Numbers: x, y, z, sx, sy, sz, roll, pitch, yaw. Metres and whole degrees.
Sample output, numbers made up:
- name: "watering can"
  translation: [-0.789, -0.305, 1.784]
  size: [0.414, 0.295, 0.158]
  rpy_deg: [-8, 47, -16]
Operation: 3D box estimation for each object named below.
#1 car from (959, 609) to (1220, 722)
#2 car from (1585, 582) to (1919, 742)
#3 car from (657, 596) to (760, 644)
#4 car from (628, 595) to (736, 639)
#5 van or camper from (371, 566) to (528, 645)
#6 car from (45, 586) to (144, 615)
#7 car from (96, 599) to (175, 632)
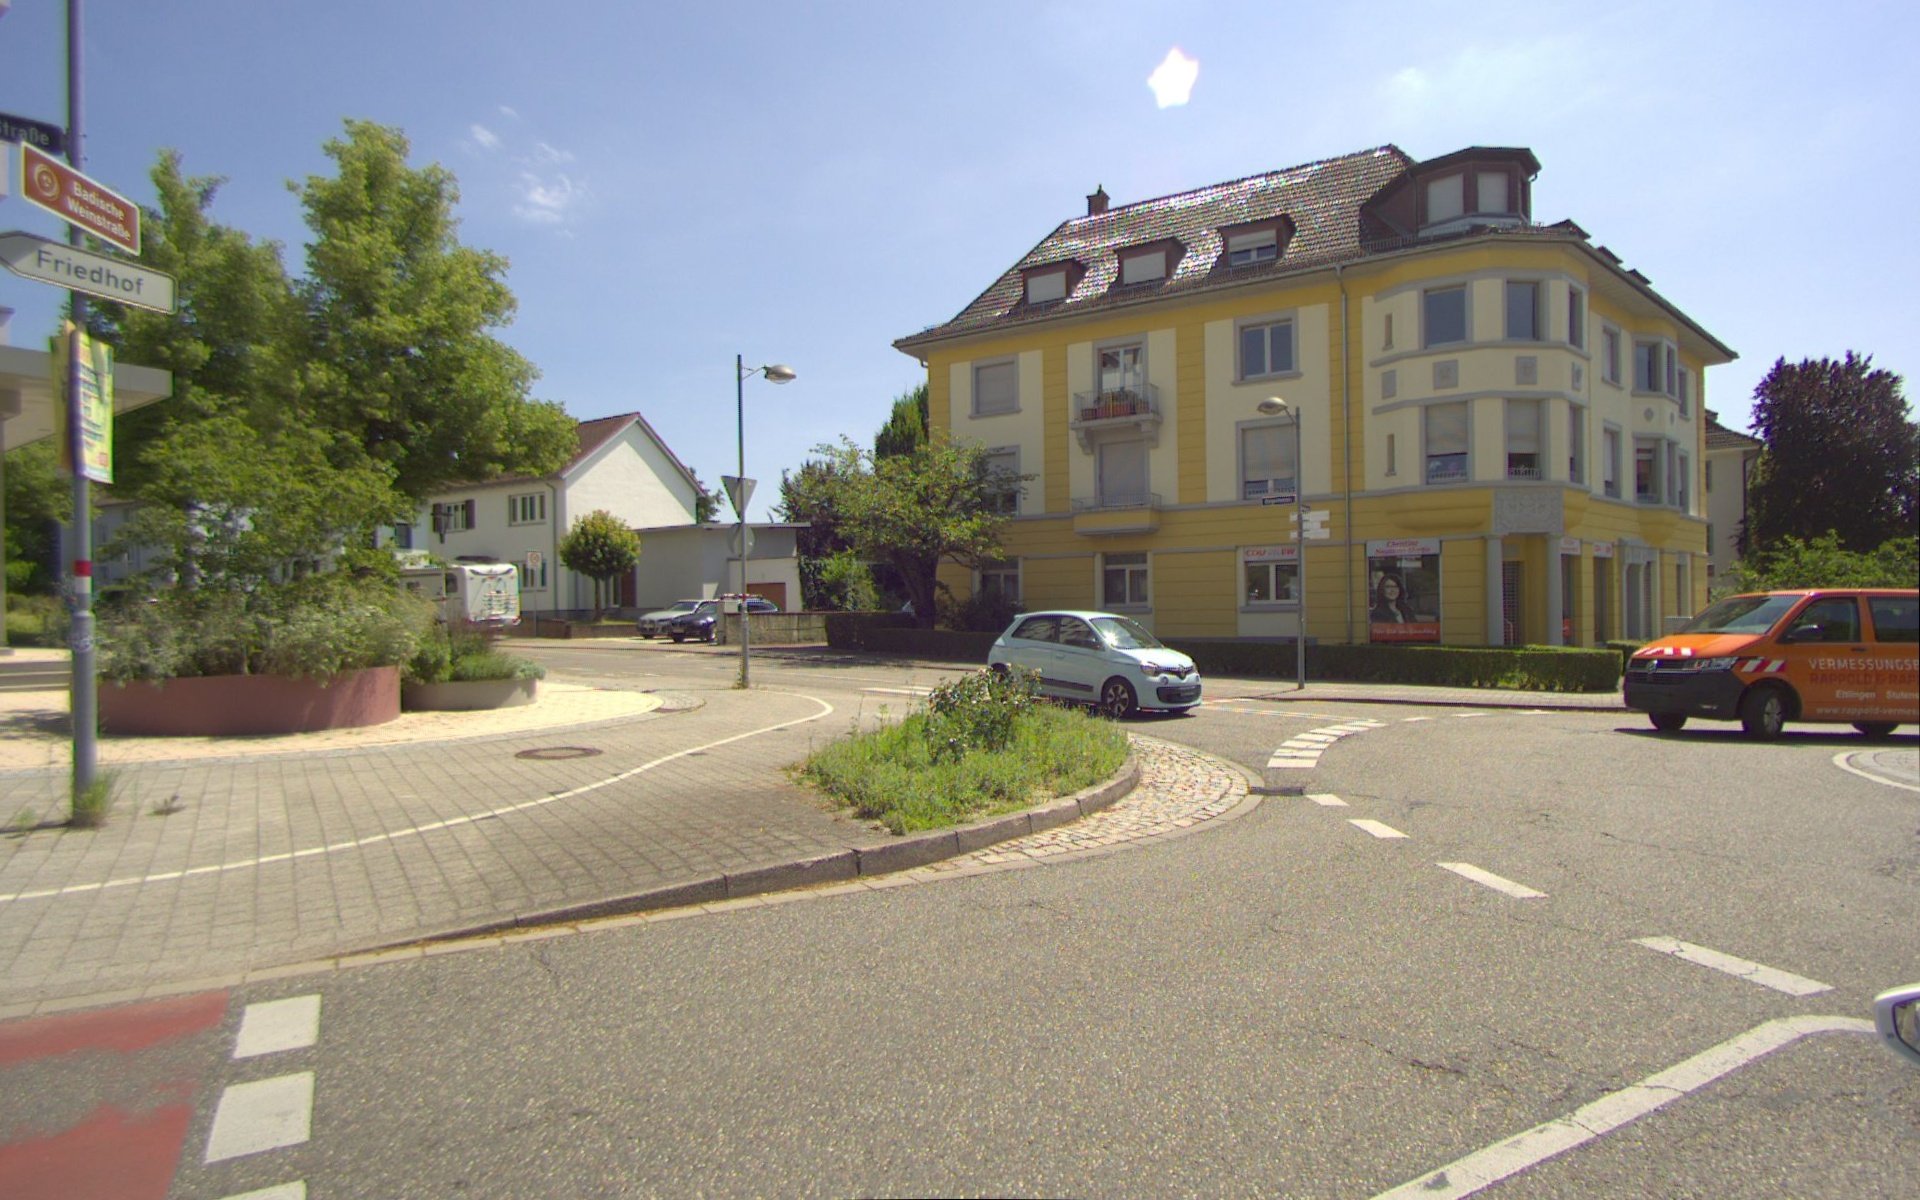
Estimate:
- name: "car"
  translation: [1.972, 0.941, 16.247]
  size: [1.648, 1.545, 4.109]
  rpy_deg: [0, 0, -43]
- name: "car"
  translation: [11.456, 0.779, 13.476]
  size: [4.921, 1.985, 1.950]
  rpy_deg: [0, 0, 1]
- name: "car"
  translation: [-8.817, 0.692, 35.574]
  size: [1.721, 1.607, 3.994]
  rpy_deg: [1, -1, 17]
- name: "car"
  translation: [-10.544, 0.644, 38.376]
  size: [1.724, 1.607, 3.988]
  rpy_deg: [0, -1, 27]
- name: "van or camper"
  translation: [-18.559, 0.135, 36.447]
  size: [5.781, 2.674, 2.269]
  rpy_deg: [1, 2, 31]
- name: "car"
  translation: [-52.208, 0.068, 60.675]
  size: [1.782, 1.630, 4.118]
  rpy_deg: [1, -1, 24]
- name: "car"
  translation: [-39.829, 0.748, 48.522]
  size: [3.922, 1.525, 1.752]
  rpy_deg: [0, -1, 32]
